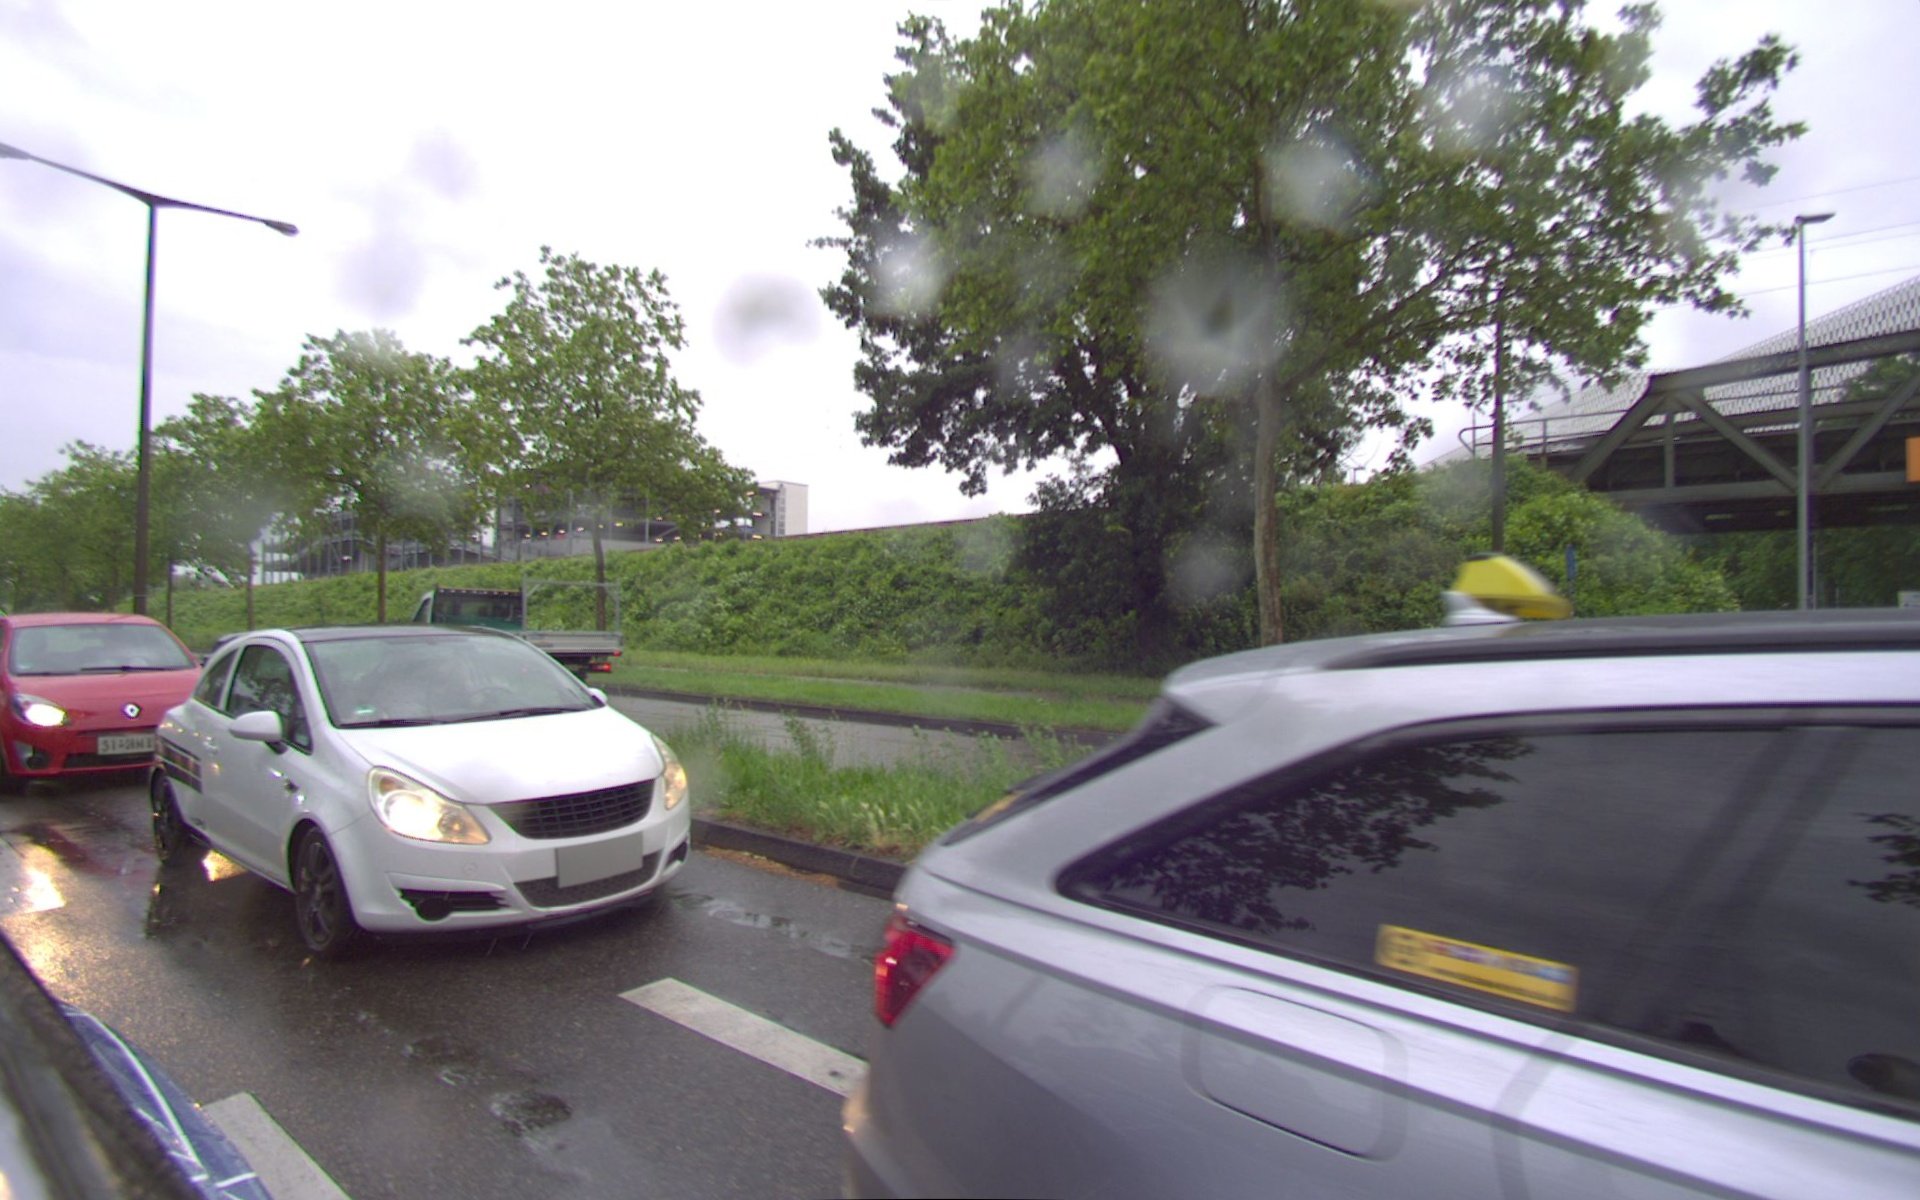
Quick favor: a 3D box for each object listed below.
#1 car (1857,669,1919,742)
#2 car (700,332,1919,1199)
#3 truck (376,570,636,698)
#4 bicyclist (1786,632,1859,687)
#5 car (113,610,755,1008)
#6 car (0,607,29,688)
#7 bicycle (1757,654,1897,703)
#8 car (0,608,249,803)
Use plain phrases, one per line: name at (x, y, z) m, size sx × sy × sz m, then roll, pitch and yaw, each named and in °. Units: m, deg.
car at (20.562, 2.169, 20.212) m, size 1.671 × 1.445 × 4.143 m, roll 0°, pitch -2°, yaw 3°
car at (1.987, 0.583, 0.746) m, size 4.817 × 1.586 × 1.751 m, roll -1°, pitch 0°, yaw 40°
truck at (-10.056, 0.710, 22.057) m, size 6.862 × 2.383 × 2.449 m, roll -1°, pitch -2°, yaw 40°
bicyclist at (24.222, 1.654, 28.442) m, size 1.138 × 1.495 × 1.055 m, roll 1°, pitch -2°, yaw 6°
car at (-3.063, 0.776, 5.512) m, size 4.007 × 1.387 × 1.662 m, roll -1°, pitch 0°, yaw 39°
car at (-21.138, 0.990, 21.260) m, size 4.144 × 1.624 × 1.808 m, roll -1°, pitch 0°, yaw 40°
bicycle at (24.215, 2.171, 28.423) m, size 1.185 × 1.213 × 3.444 m, roll 1°, pitch -2°, yaw 5°
car at (-8.435, 0.842, 9.709) m, size 4.090 × 1.476 × 1.702 m, roll -1°, pitch 0°, yaw 41°
